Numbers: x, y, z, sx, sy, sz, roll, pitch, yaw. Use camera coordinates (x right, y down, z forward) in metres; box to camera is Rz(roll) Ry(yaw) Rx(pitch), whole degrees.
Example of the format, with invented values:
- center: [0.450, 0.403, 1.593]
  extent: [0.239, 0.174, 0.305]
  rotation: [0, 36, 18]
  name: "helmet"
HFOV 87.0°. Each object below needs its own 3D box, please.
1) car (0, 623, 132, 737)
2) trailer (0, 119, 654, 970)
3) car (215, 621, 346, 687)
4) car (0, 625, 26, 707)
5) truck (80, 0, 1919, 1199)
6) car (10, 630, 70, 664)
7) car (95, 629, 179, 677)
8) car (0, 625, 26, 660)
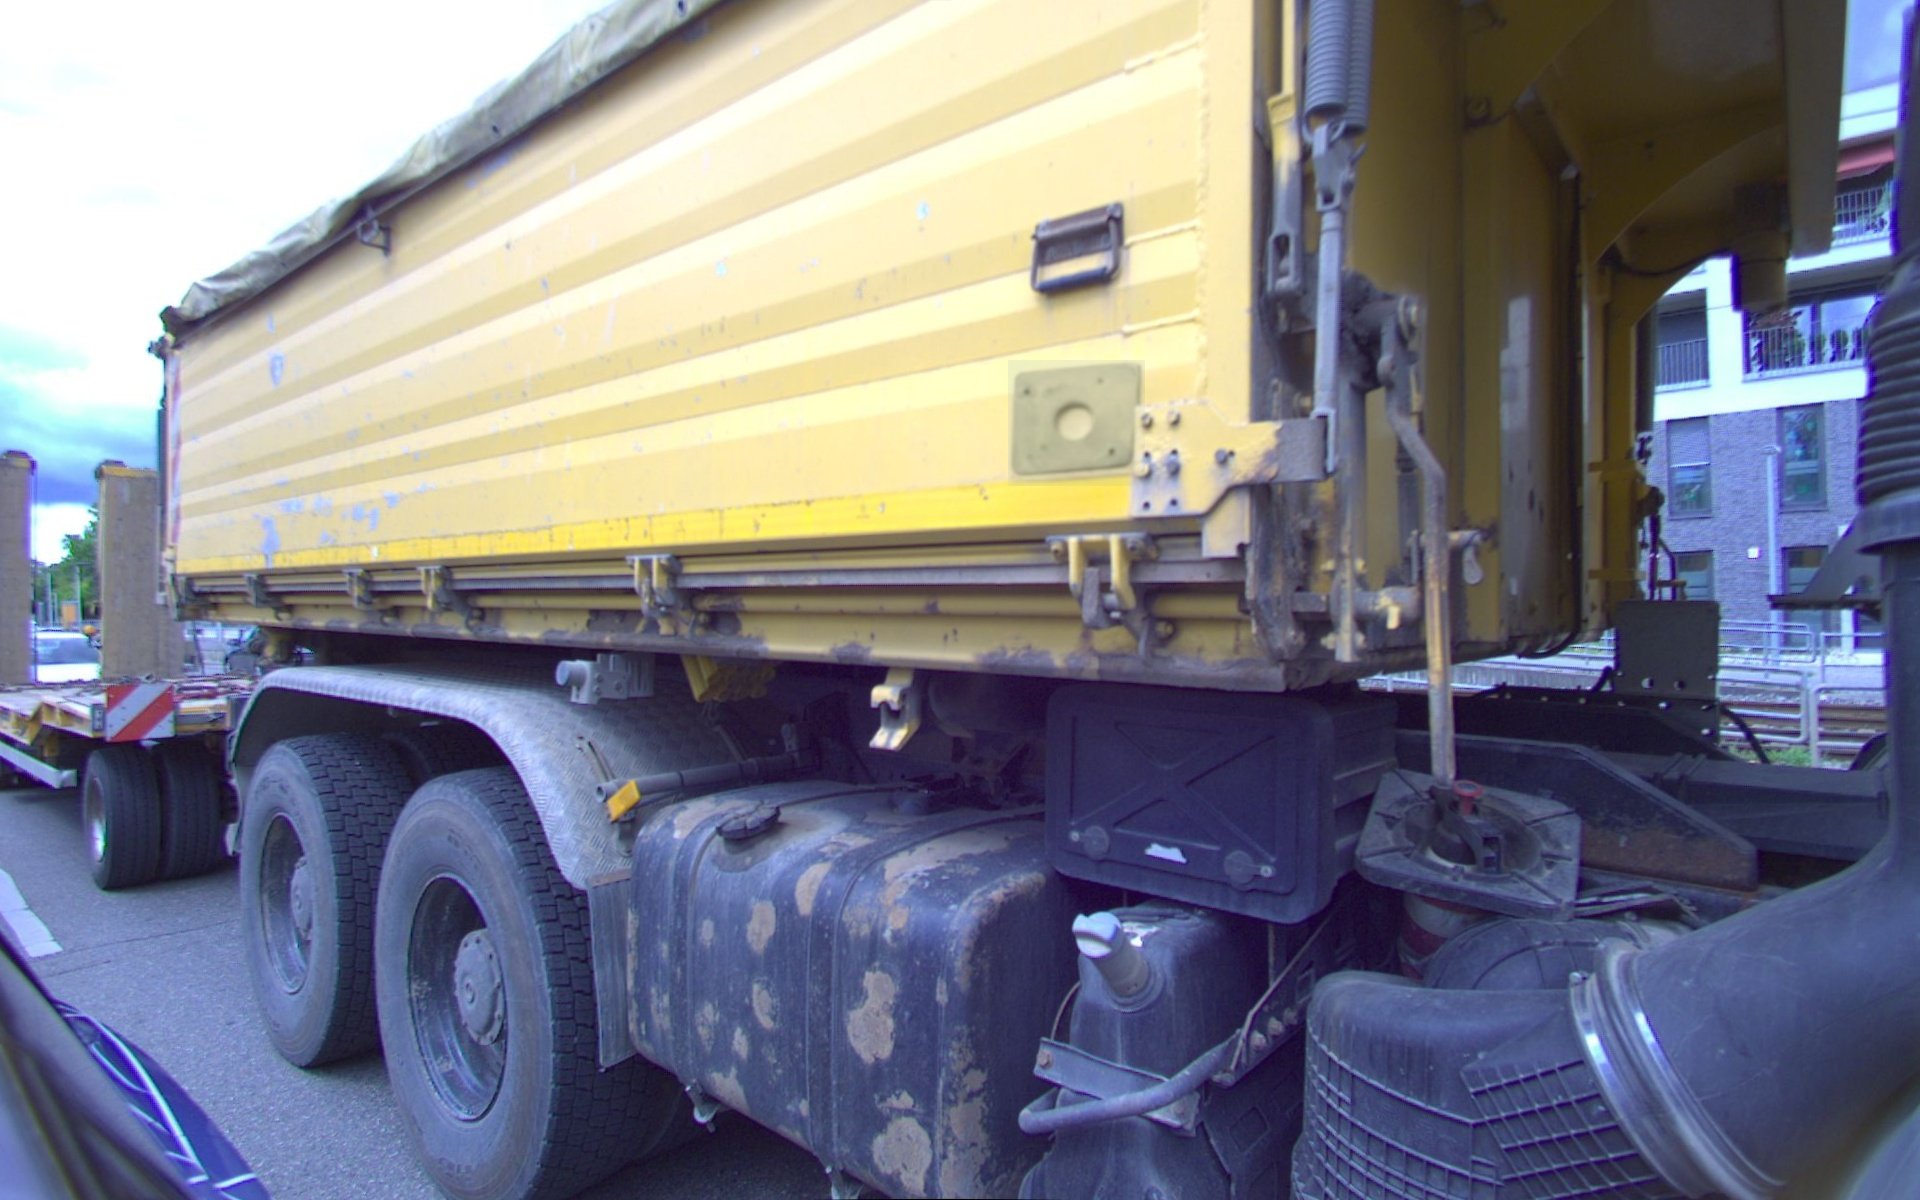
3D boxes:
- center: [-14.215, 1.135, 15.549]
  extent: [3.998, 1.490, 1.671]
  rotation: [-1, 0, 41]
  name: "car"
- center: [-6.881, -0.135, 8.837]
  extent: [10.909, 3.548, 2.678]
  rotation: [-2, -1, 41]
  name: "trailer"
- center: [-16.866, 1.293, 25.054]
  extent: [4.042, 1.480, 1.758]
  rotation: [-2, -1, 42]
  name: "car"
- center: [-19.671, 1.275, 19.779]
  extent: [3.998, 1.490, 1.671]
  rotation: [-1, 0, 41]
  name: "car"
- center: [0.139, -0.025, 2.671]
  extent: [7.775, 3.026, 2.692]
  rotation: [-1, 0, 41]
  name: "truck"
- center: [-43.281, 2.191, 47.595]
  extent: [3.564, 1.469, 1.683]
  rotation: [-2, -1, 41]
  name: "car"
- center: [-27.754, 1.744, 34.090]
  extent: [4.280, 1.452, 1.742]
  rotation: [-2, -1, 45]
  name: "car"
- center: [-52.161, 2.291, 54.795]
  extent: [4.861, 1.785, 1.863]
  rotation: [-2, -1, 41]
  name: "car"
